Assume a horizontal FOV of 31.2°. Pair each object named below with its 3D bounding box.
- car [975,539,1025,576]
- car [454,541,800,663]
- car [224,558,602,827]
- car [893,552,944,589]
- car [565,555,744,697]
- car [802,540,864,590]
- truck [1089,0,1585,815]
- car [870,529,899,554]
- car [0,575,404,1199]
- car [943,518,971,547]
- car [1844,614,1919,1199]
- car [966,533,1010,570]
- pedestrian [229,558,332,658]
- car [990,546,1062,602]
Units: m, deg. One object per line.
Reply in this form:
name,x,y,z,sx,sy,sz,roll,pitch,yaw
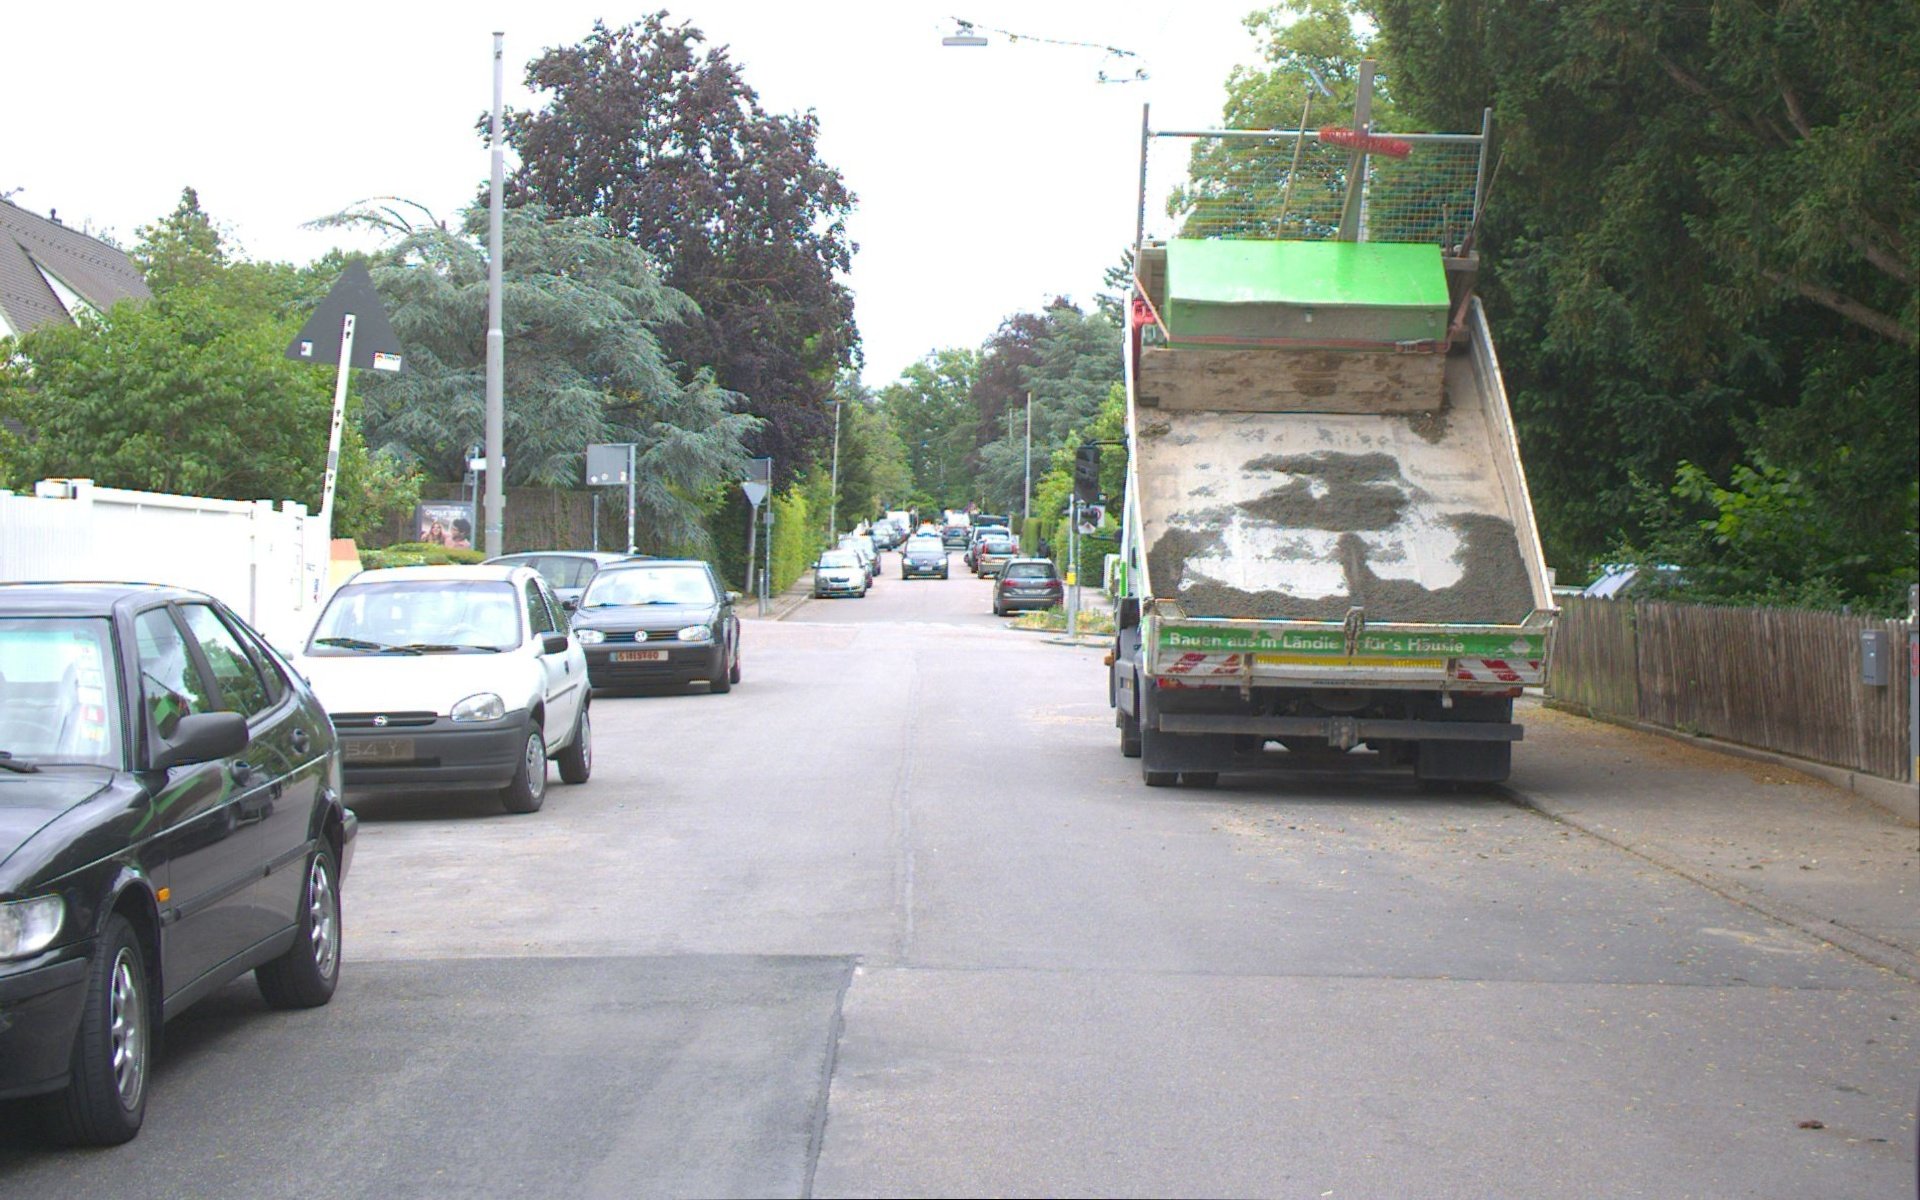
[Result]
car,1.590,-1.715,137.069,1.810,1.331,3.633,2,2,-1
car,-4.240,0.003,43.928,3.990,1.439,1.825,1,1,16
car,-3.211,0.486,20.860,1.596,1.428,4.000,-1,1,0
car,-1.614,-1.154,134.588,1.728,1.402,3.803,1,1,4
car,-3.236,0.237,37.010,1.637,1.390,3.989,-1,1,-2
car,-4.162,-1.169,113.281,1.711,1.580,4.000,1,1,2
truck,2.333,-1.192,23.664,2.524,4.732,7.187,2,1,0
car,-4.442,-3.441,201.797,1.626,1.381,3.599,3,1,-1
car,-2.878,0.680,9.929,1.641,1.417,4.549,-2,1,2
car,-0.192,-4.141,210.188,1.634,1.695,3.494,1,1,-1
car,2.457,0.790,3.958,1.652,1.419,4.661,2,1,0
car,1.209,-2.052,145.904,1.789,1.524,3.734,1,1,1
pedestrian,-8.457,0.101,42.808,0.946,1.221,0.836,1,0,-42
car,1.765,-0.714,93.462,1.778,1.484,4.000,1,1,-1
